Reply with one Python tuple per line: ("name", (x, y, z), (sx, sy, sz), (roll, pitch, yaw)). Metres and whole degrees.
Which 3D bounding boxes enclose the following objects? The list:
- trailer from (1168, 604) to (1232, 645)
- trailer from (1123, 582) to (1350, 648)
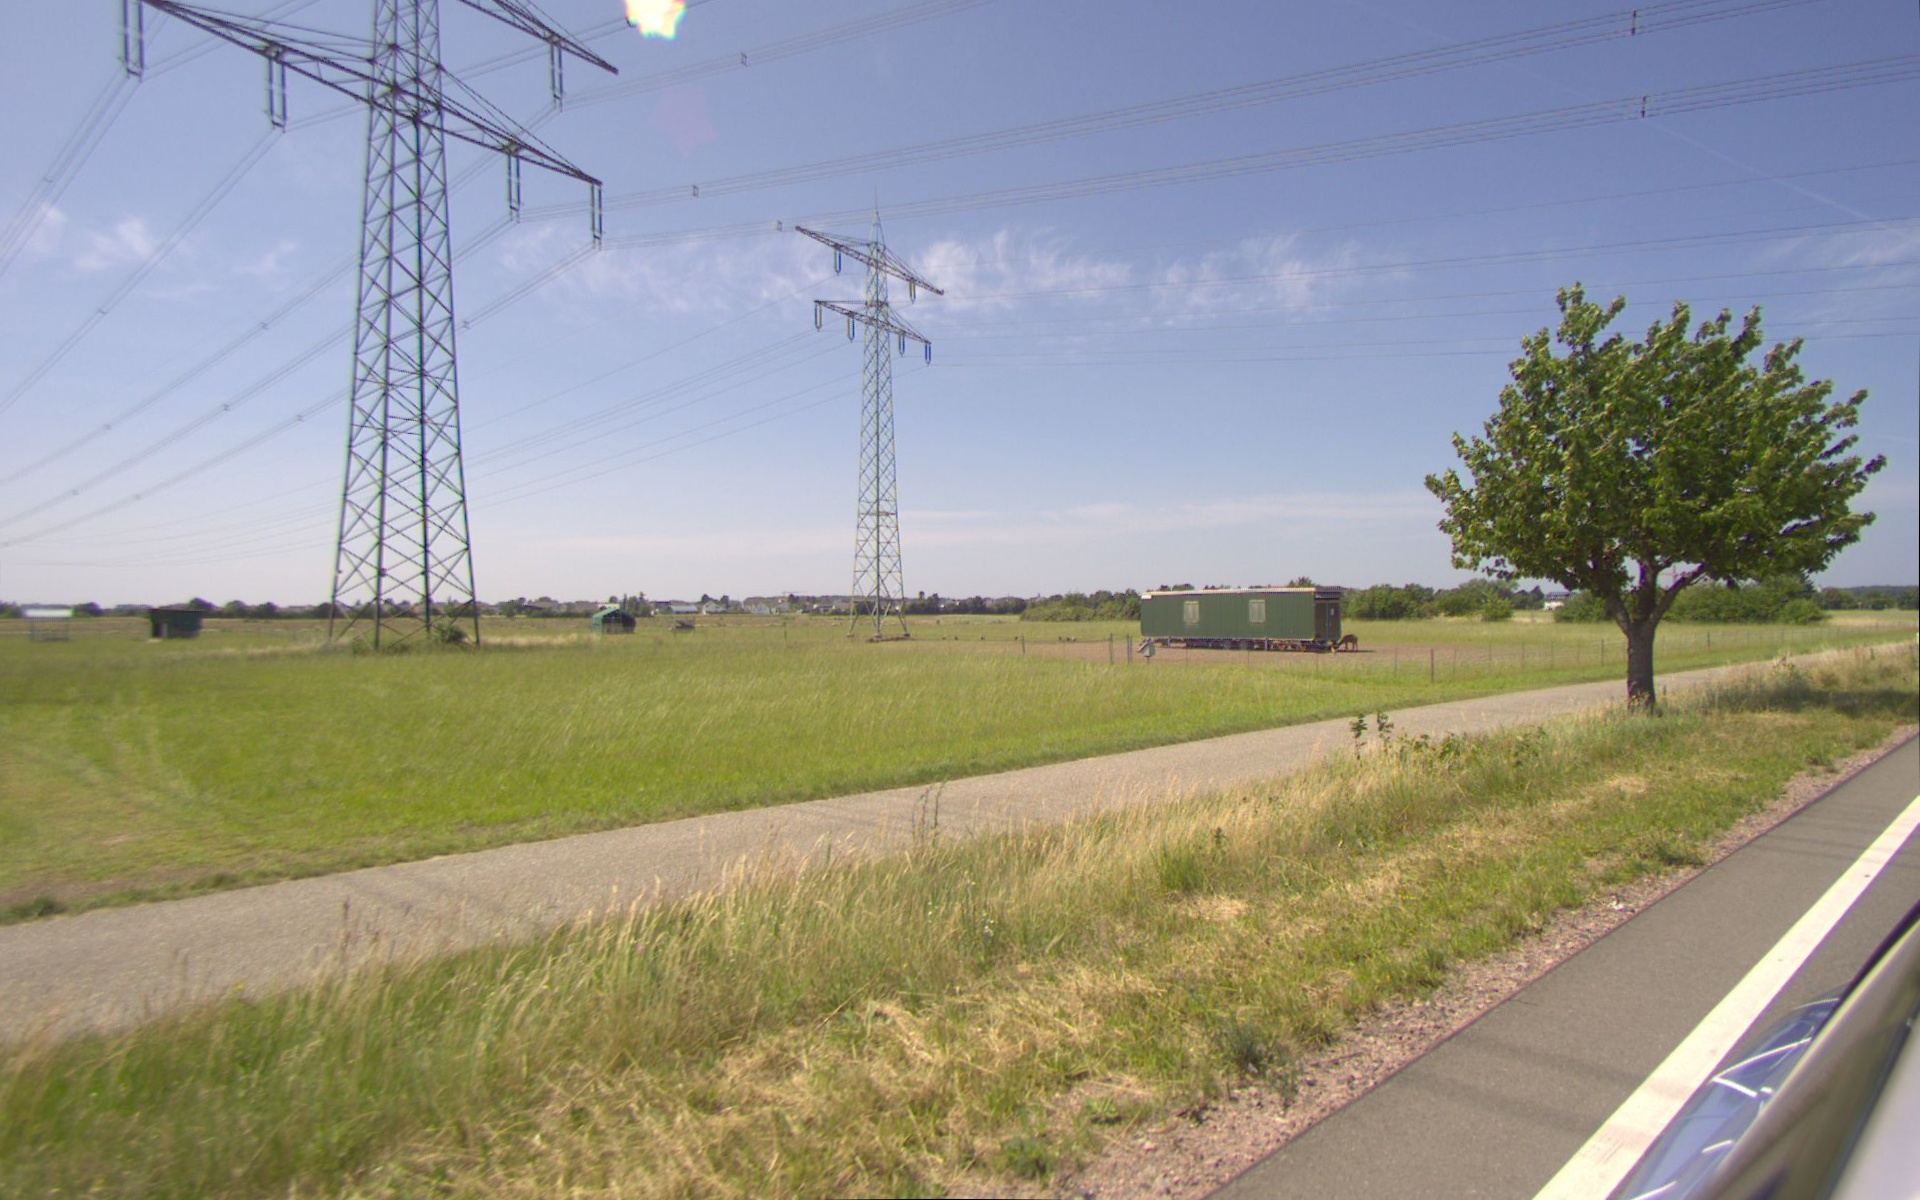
("trailer", (15.287, 1.528, 64.587), (2.001, 2.494, 3.413), (0, -1, -40))
("trailer", (15.814, 0.857, 59.624), (3.218, 3.519, 13.534), (0, -1, -40))
